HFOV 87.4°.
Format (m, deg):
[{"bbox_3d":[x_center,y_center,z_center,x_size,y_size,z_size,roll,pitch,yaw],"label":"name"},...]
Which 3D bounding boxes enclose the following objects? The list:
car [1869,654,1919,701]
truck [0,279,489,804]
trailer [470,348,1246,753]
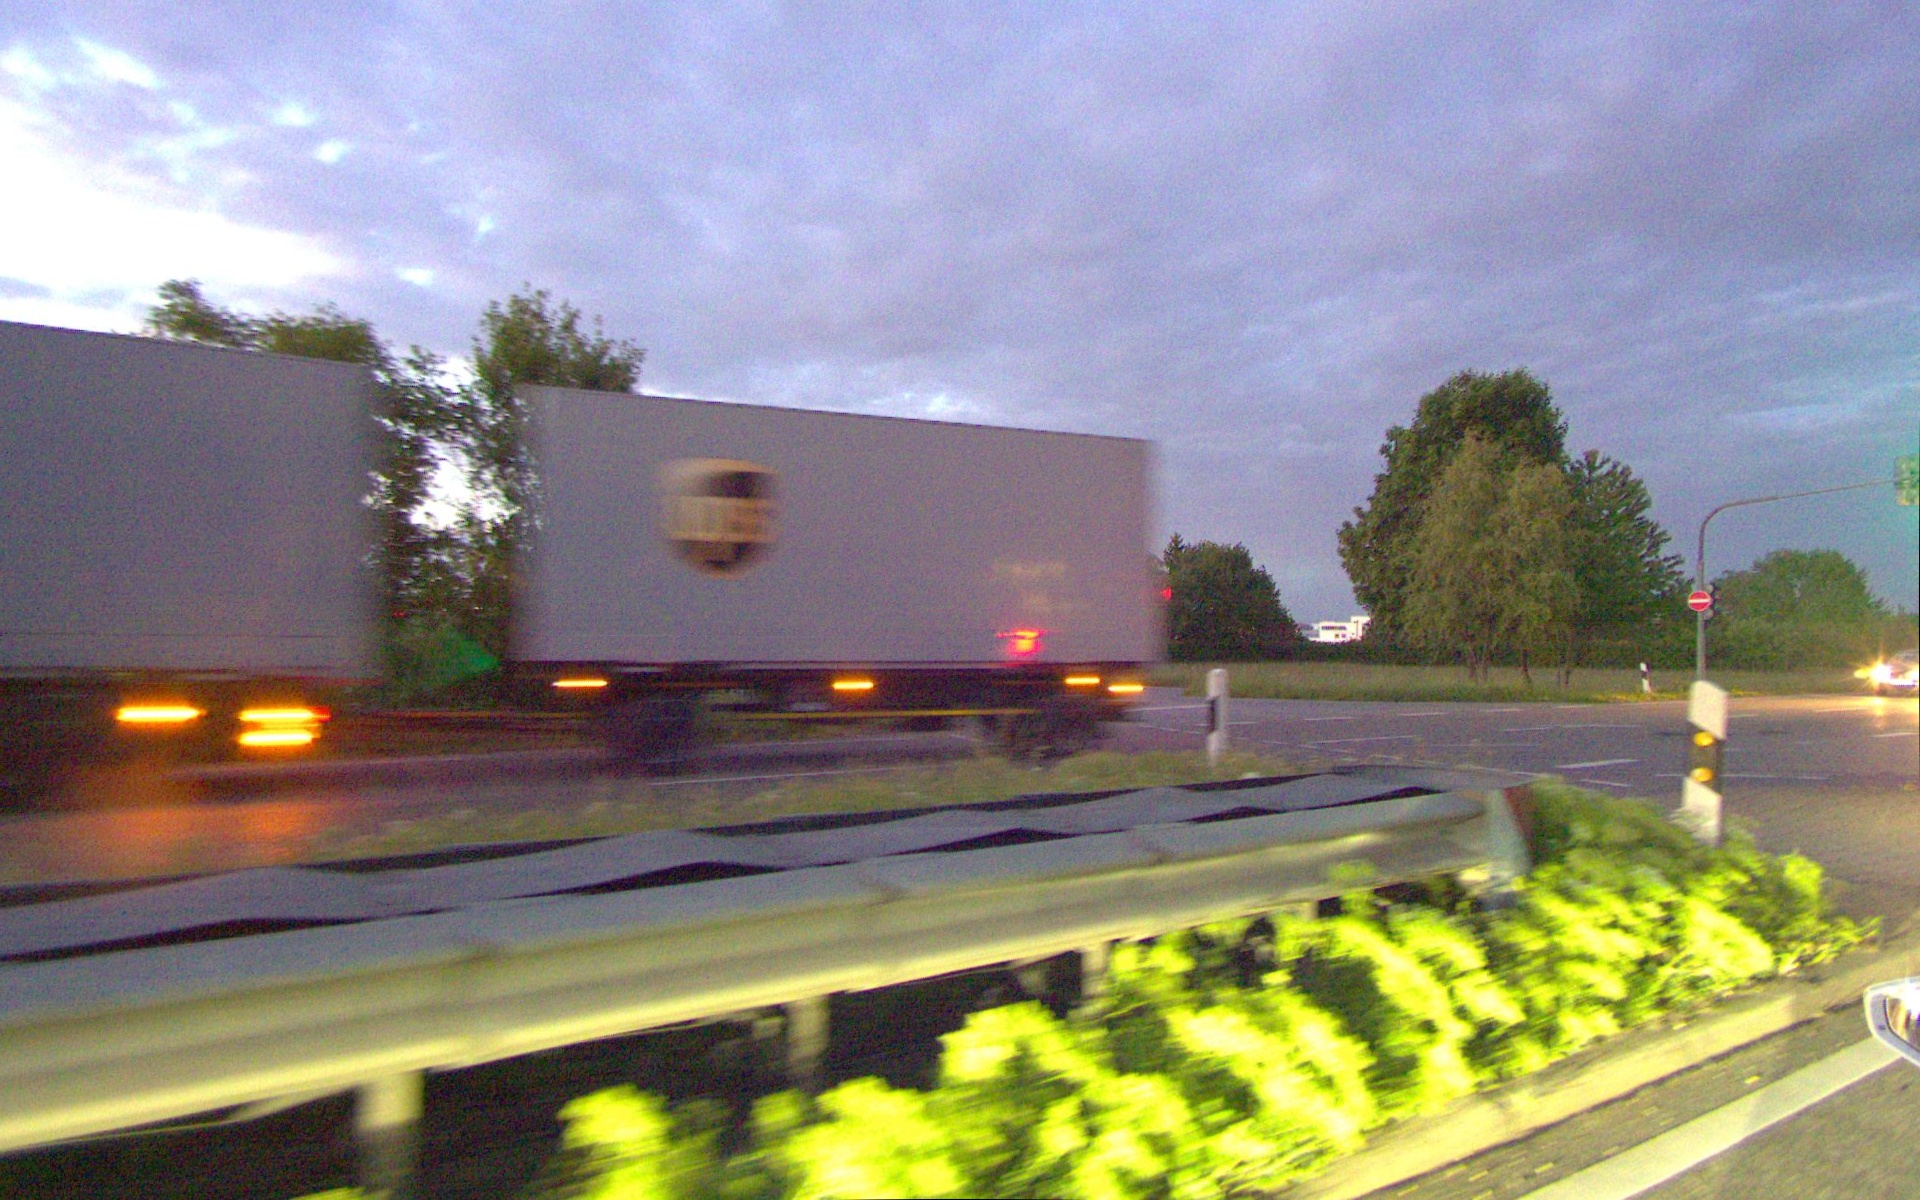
[{"bbox_3d":[30.627,2.452,31.786,3.984,1.402,1.644,3,-3,-31],"label":"car"},{"bbox_3d":[-9.707,-0.517,8.369,10.221,4.171,2.714,2,-1,-29],"label":"truck"},{"bbox_3d":[-0.971,-0.359,12.435,8.734,3.995,2.576,1,-2,-17],"label":"trailer"}]
